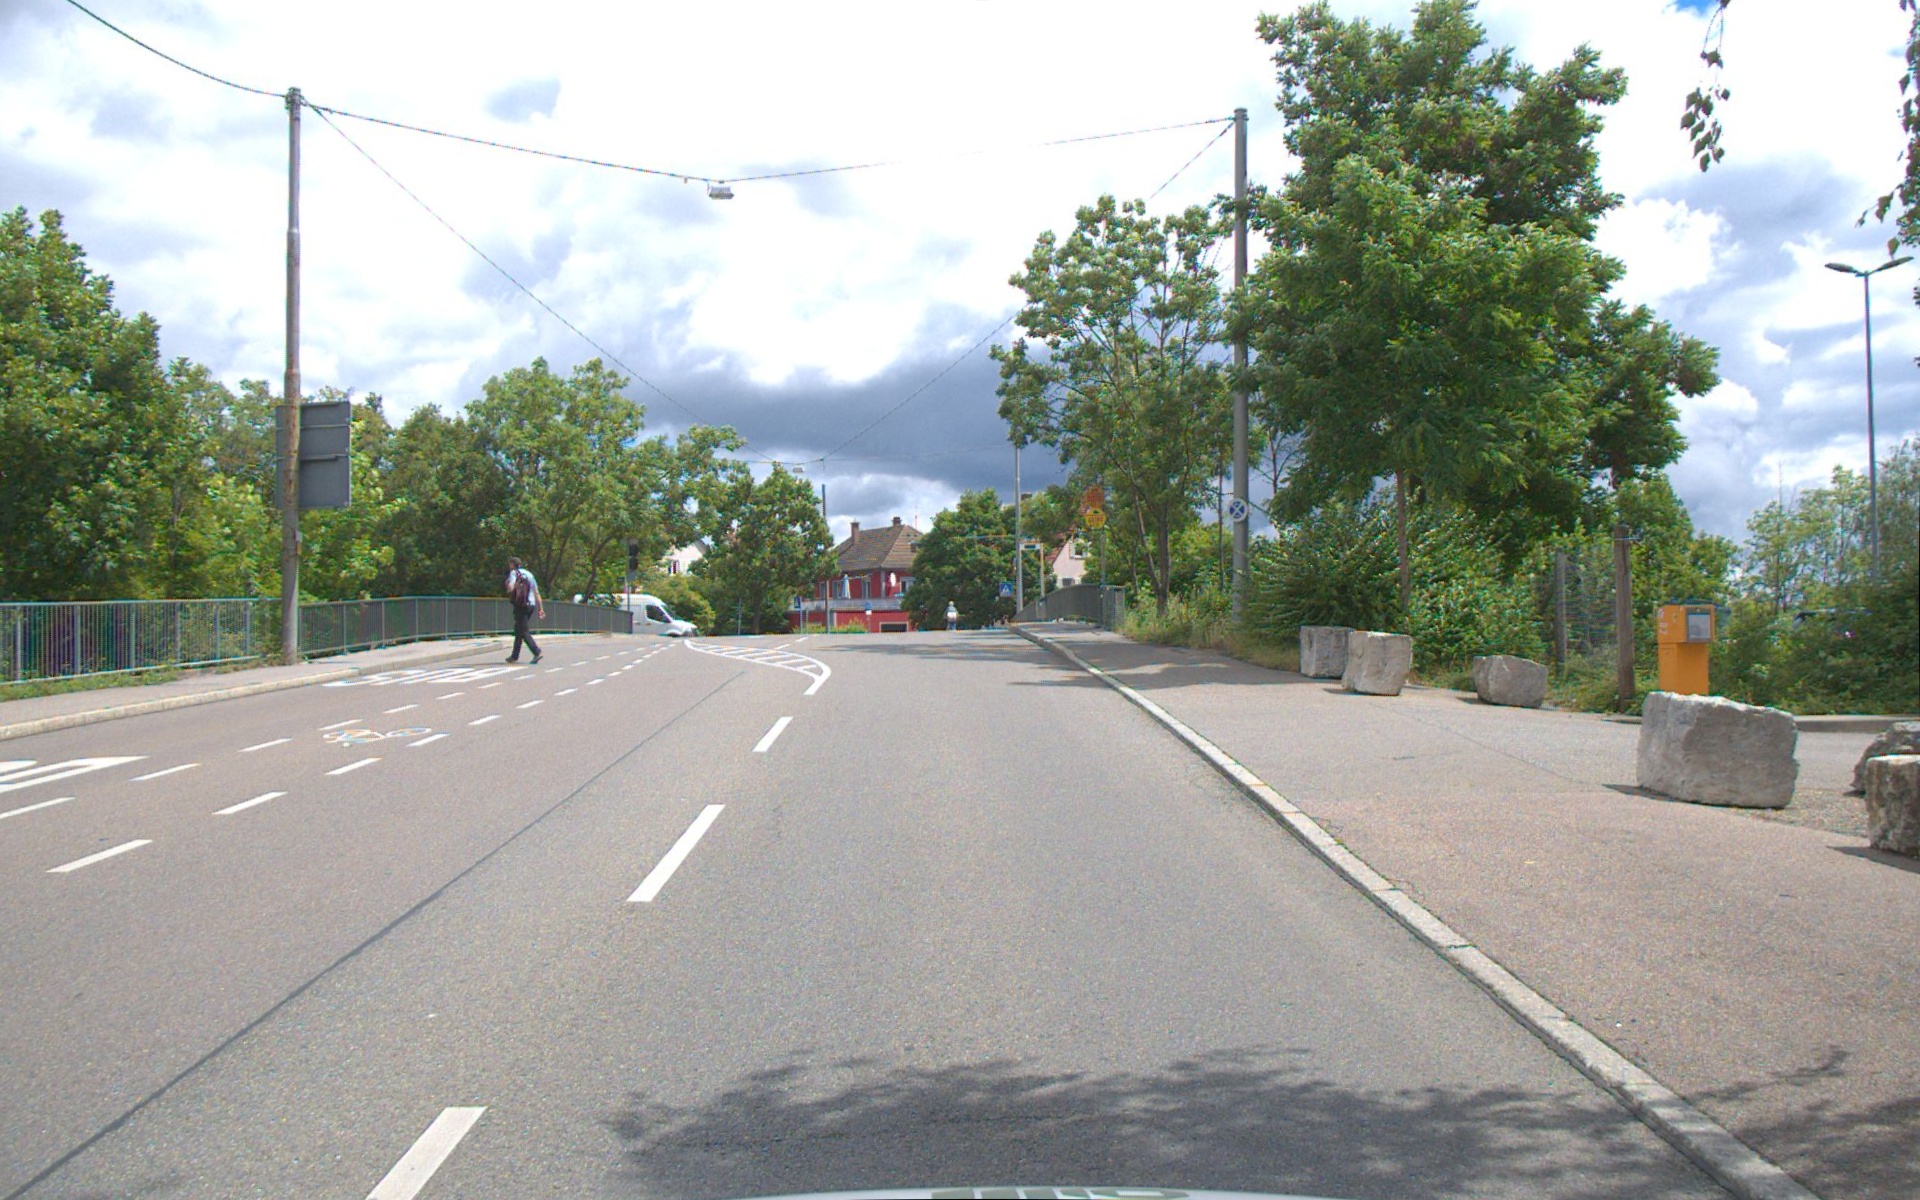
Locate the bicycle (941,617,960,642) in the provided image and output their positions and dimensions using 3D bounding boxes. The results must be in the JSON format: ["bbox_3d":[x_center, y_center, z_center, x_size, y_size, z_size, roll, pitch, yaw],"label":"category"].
[{"bbox_3d":[-0.406,1.267,70.025,0.673,0.894,2.102,0,-5,4],"label":"bicycle"}]

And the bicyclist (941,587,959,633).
[{"bbox_3d":[-0.425,0.415,69.972,0.670,1.858,1.080,0,-5,4],"label":"bicyclist"}]

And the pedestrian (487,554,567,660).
[{"bbox_3d":[-7.815,0.115,29.865,1.014,1.869,0.997,0,0,31],"label":"pedestrian"}]

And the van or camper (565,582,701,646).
[{"bbox_3d":[-15.075,0.658,76.508,5.788,2.612,2.193,-2,-4,0],"label":"van or camper"}]
